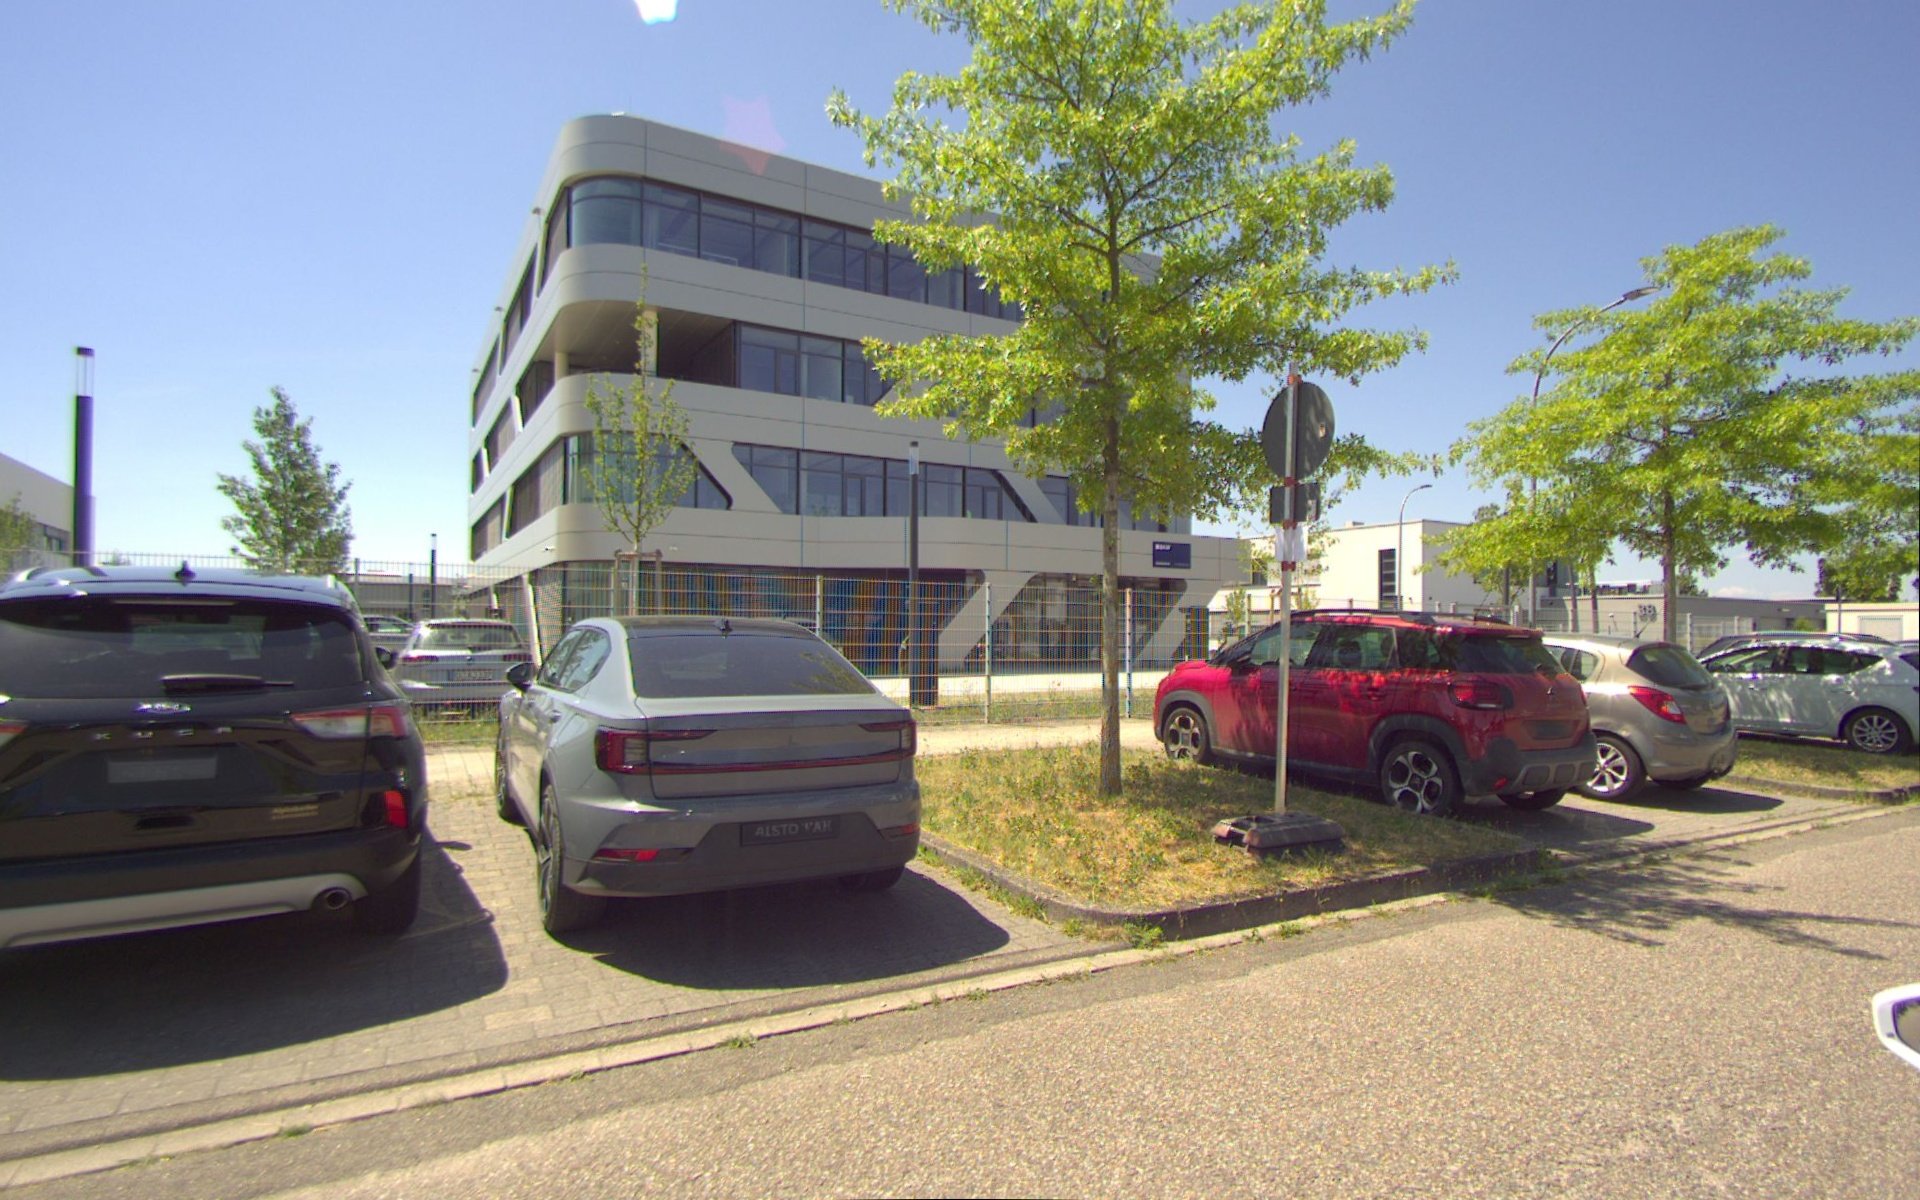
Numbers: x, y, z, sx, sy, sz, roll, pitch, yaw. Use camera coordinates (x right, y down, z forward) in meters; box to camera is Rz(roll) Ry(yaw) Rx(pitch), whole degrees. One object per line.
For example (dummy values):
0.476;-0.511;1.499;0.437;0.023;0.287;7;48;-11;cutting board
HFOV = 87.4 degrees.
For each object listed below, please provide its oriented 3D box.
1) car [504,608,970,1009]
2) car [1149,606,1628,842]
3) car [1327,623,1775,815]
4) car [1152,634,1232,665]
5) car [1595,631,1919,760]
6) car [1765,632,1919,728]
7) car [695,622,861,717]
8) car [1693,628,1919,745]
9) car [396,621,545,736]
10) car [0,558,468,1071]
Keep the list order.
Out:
-1.703;0.847;6.193;1.692;1.500;4.174;1;0;-29;car
3.634;0.902;9.178;1.794;1.643;3.721;1;0;-29;car
5.894;1.046;10.417;1.713;1.528;3.635;1;0;-33;car
12.538;2.662;54.507;1.979;1.560;3.964;4;-4;-33;car
11.590;1.235;14.176;1.854;1.443;4.051;1;0;-33;car
15.881;1.330;16.656;1.707;1.455;3.605;1;0;-32;car
-3.126;1.130;16.749;1.658;1.409;3.463;1;-3;-30;car
13.668;1.253;15.107;1.765;1.541;3.905;1;0;-32;car
-7.034;1.047;14.267;1.658;1.409;3.463;1;-3;-30;car
-3.861;0.694;5.259;1.759;1.701;3.961;1;0;-34;car
